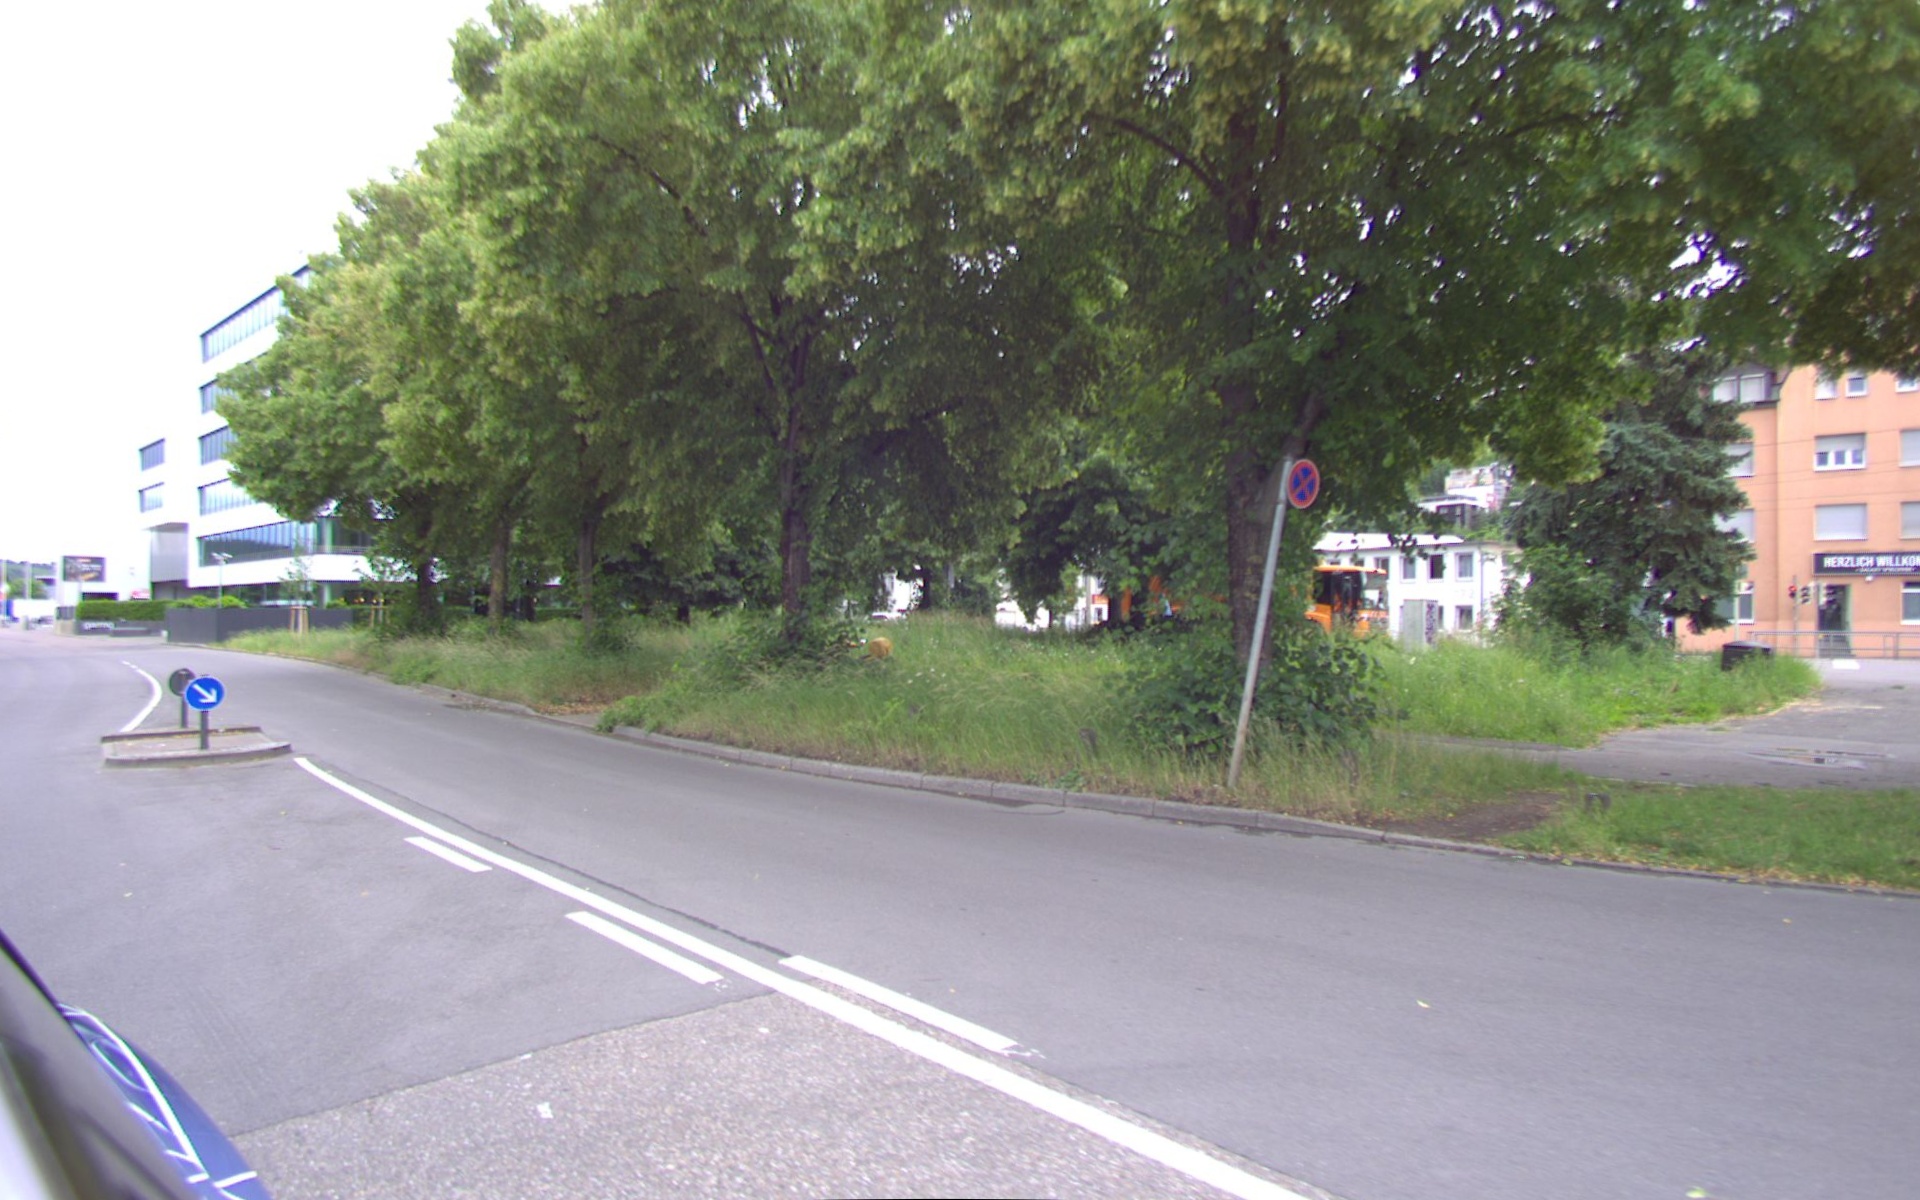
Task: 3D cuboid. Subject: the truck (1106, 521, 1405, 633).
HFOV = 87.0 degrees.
[{"bbox_3d":[10.381,-0.790,36.906,10.427,3.553,2.757,1,0,45],"label":"truck"}]
